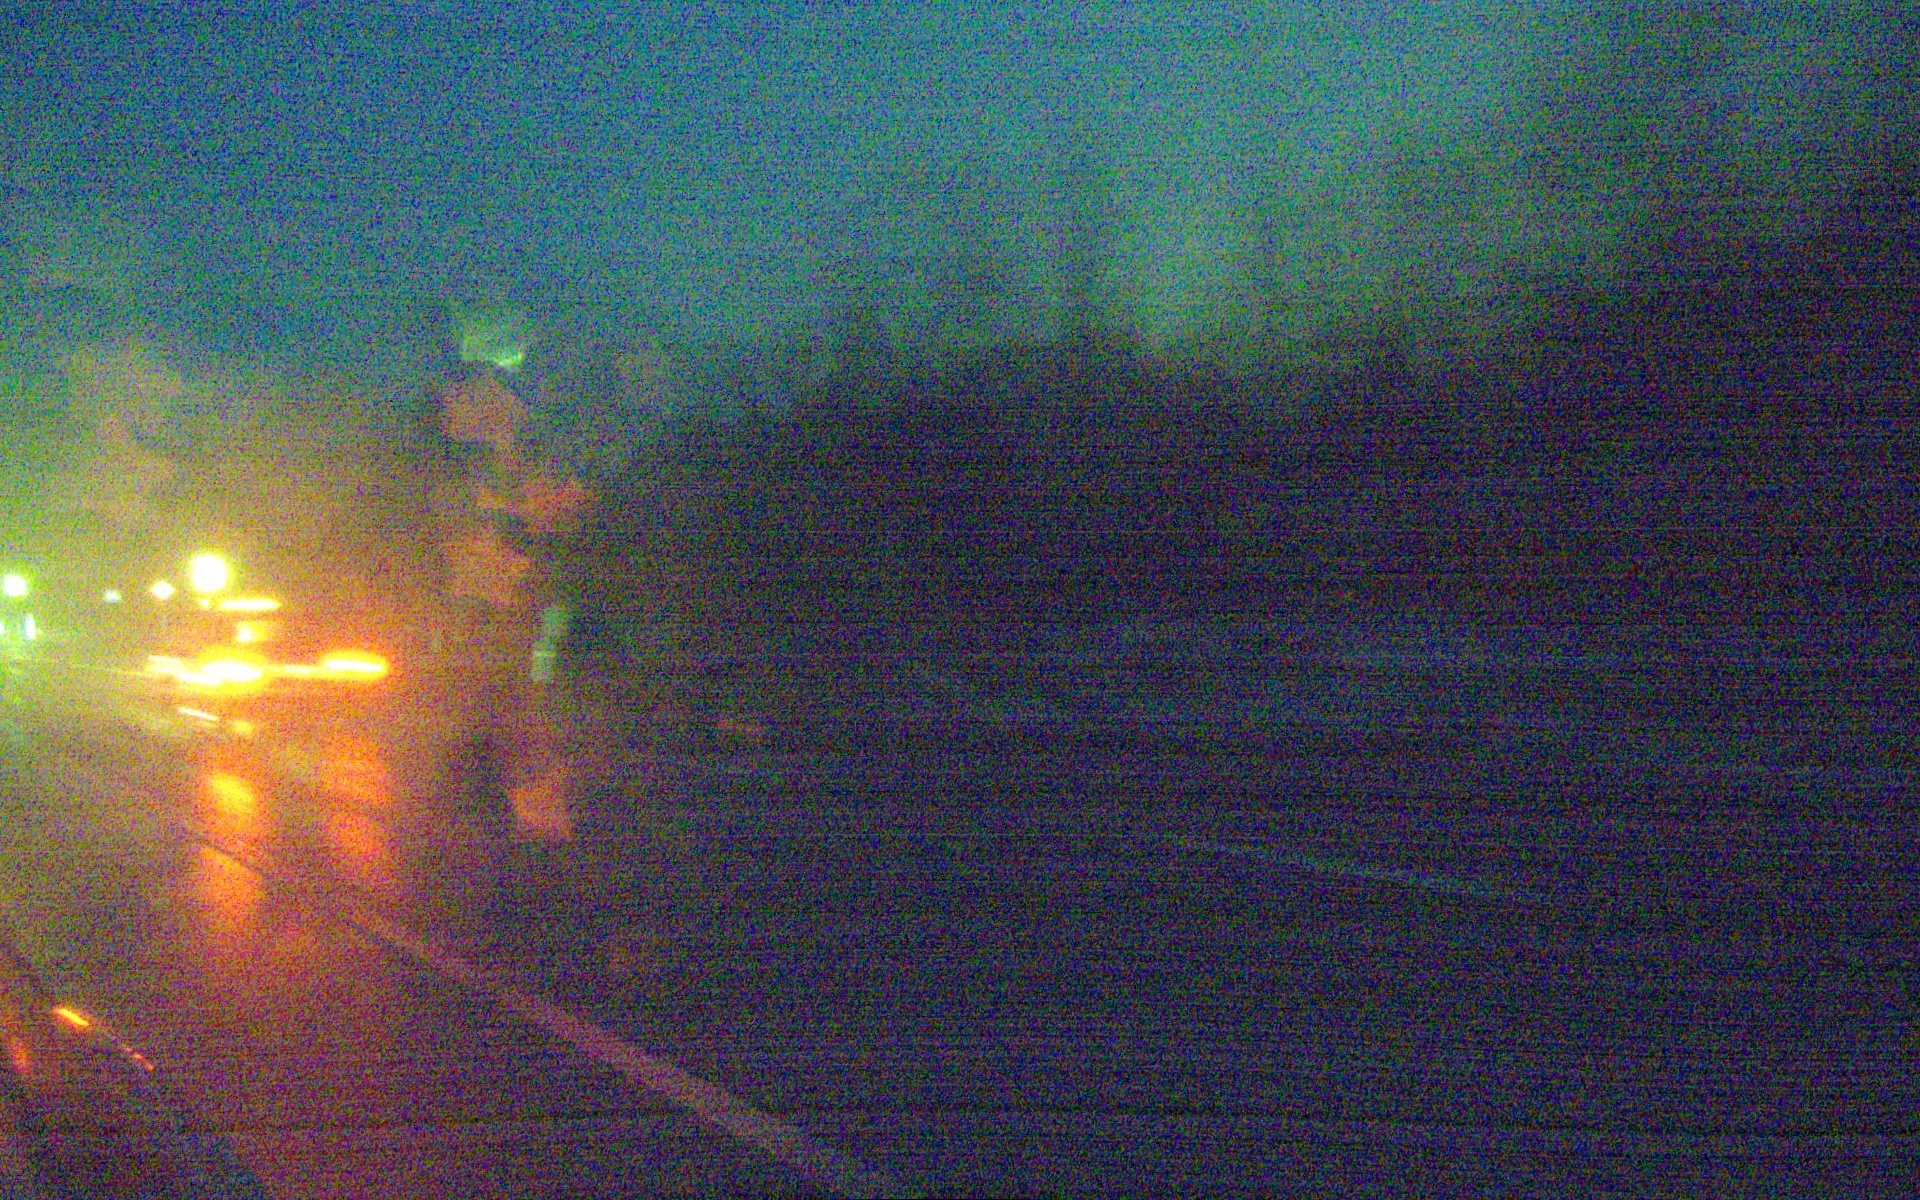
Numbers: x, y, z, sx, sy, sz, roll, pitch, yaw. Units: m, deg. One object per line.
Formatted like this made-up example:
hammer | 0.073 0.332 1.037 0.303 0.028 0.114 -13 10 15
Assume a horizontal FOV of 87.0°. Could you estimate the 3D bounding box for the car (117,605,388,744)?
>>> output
car | -9.897 0.906 14.009 4.658 1.588 1.973 -1 -1 41
